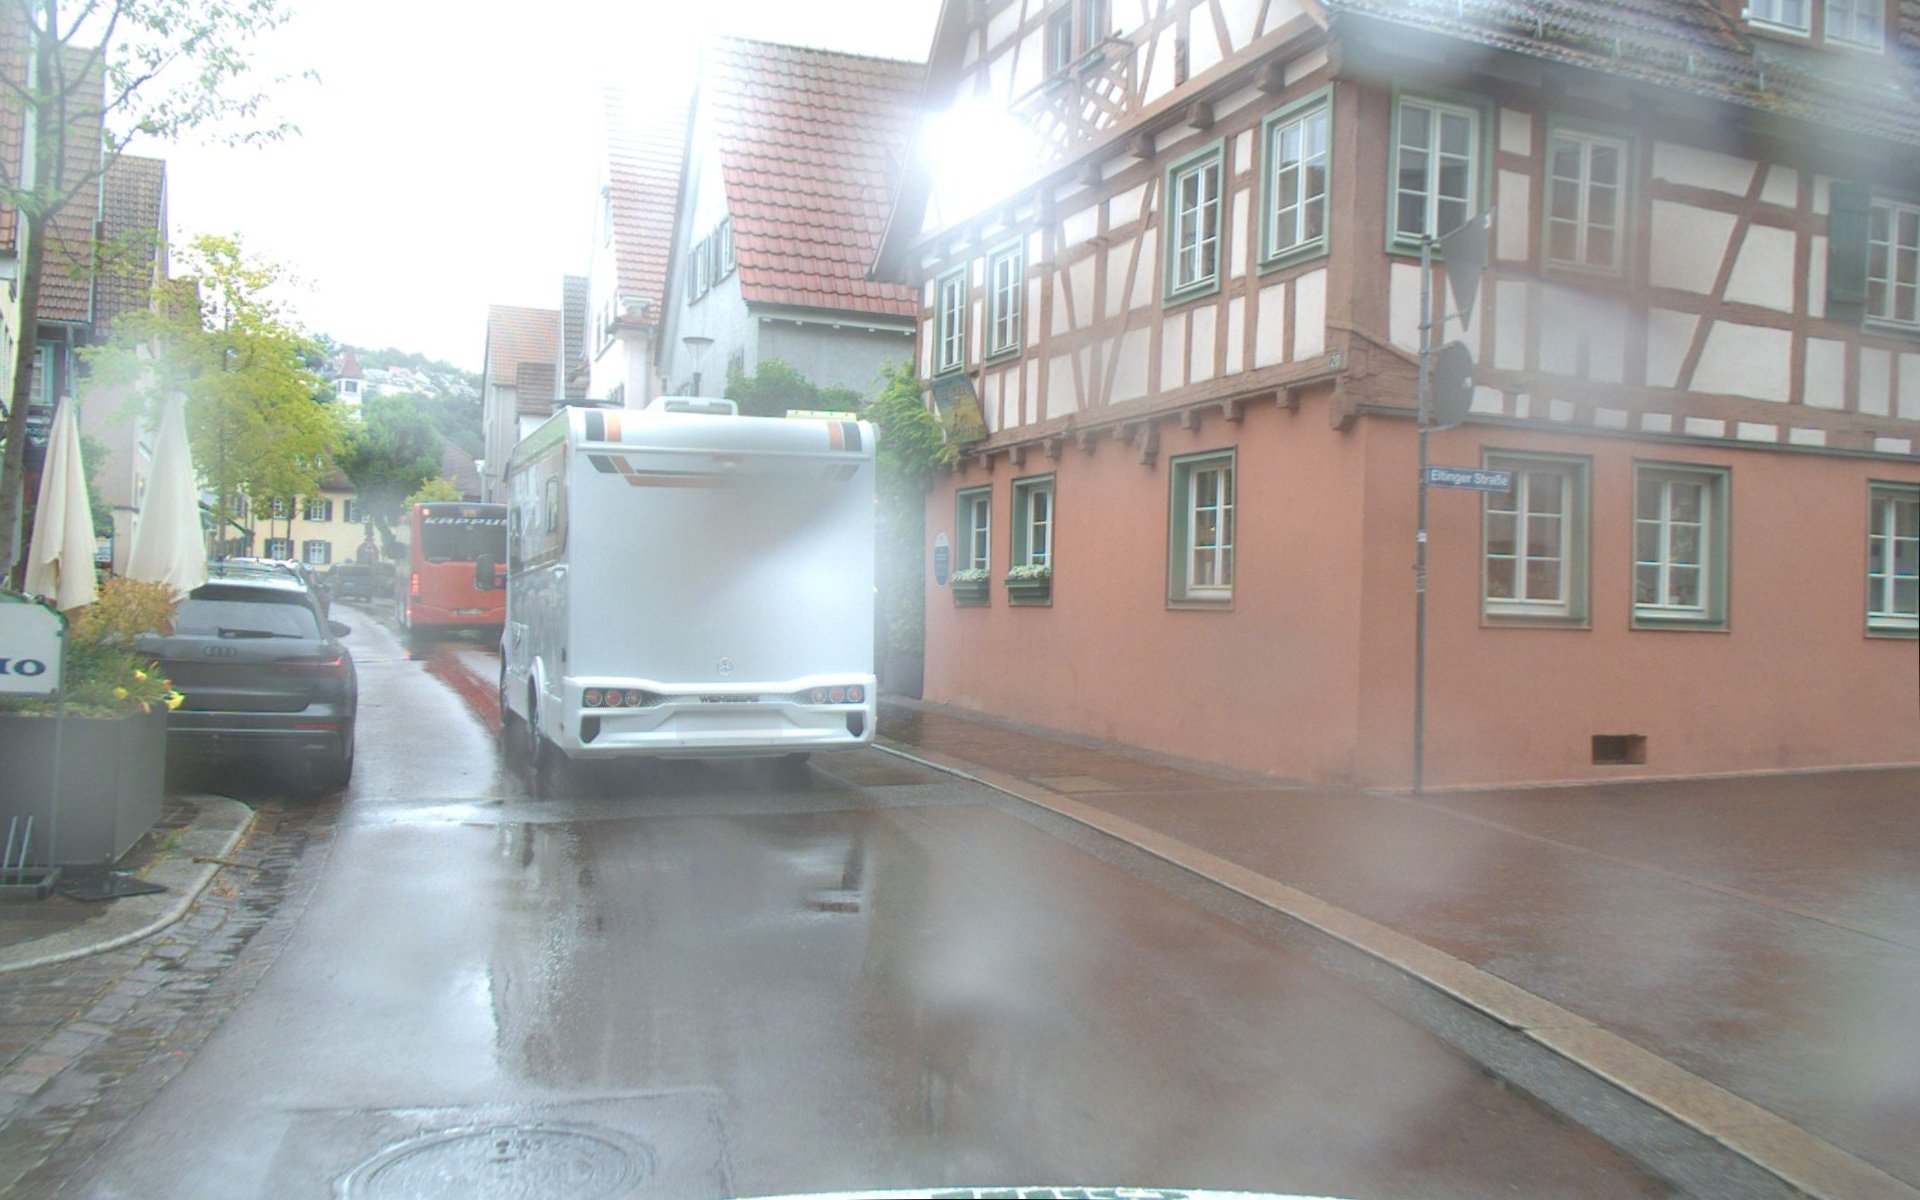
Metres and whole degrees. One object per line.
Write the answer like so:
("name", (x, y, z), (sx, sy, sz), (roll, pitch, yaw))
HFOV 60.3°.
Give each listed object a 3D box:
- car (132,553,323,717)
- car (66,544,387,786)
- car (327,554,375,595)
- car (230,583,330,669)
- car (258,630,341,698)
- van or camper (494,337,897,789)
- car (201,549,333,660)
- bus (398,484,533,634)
("car", (-7.856, 0.357, 18.019), (1.569, 1.573, 3.954), (1, -1, -20))
("car", (-5.574, 0.377, 12.547), (1.779, 1.457, 4.591), (4, 0, -25))
("car", (-32.037, -1.327, 86.971), (1.969, 2.049, 3.967), (1, -1, -26))
("car", (-14.421, 0.536, 35.189), (1.808, 1.704, 4.510), (1, -1, -22))
("car", (-16.635, 1.576, 41.694), (1.808, 1.579, 4.253), (1, -1, -22))
("van or camper", (-2.596, -0.212, 14.257), (2.291, 2.970, 6.356), (1, -1, -20))
("car", (-11.823, 0.092, 28.447), (1.745, 1.704, 4.454), (3, -1, -19))
("bus", (-12.058, -0.887, 40.019), (2.603, 3.283, 6.560), (1, -1, -21))
